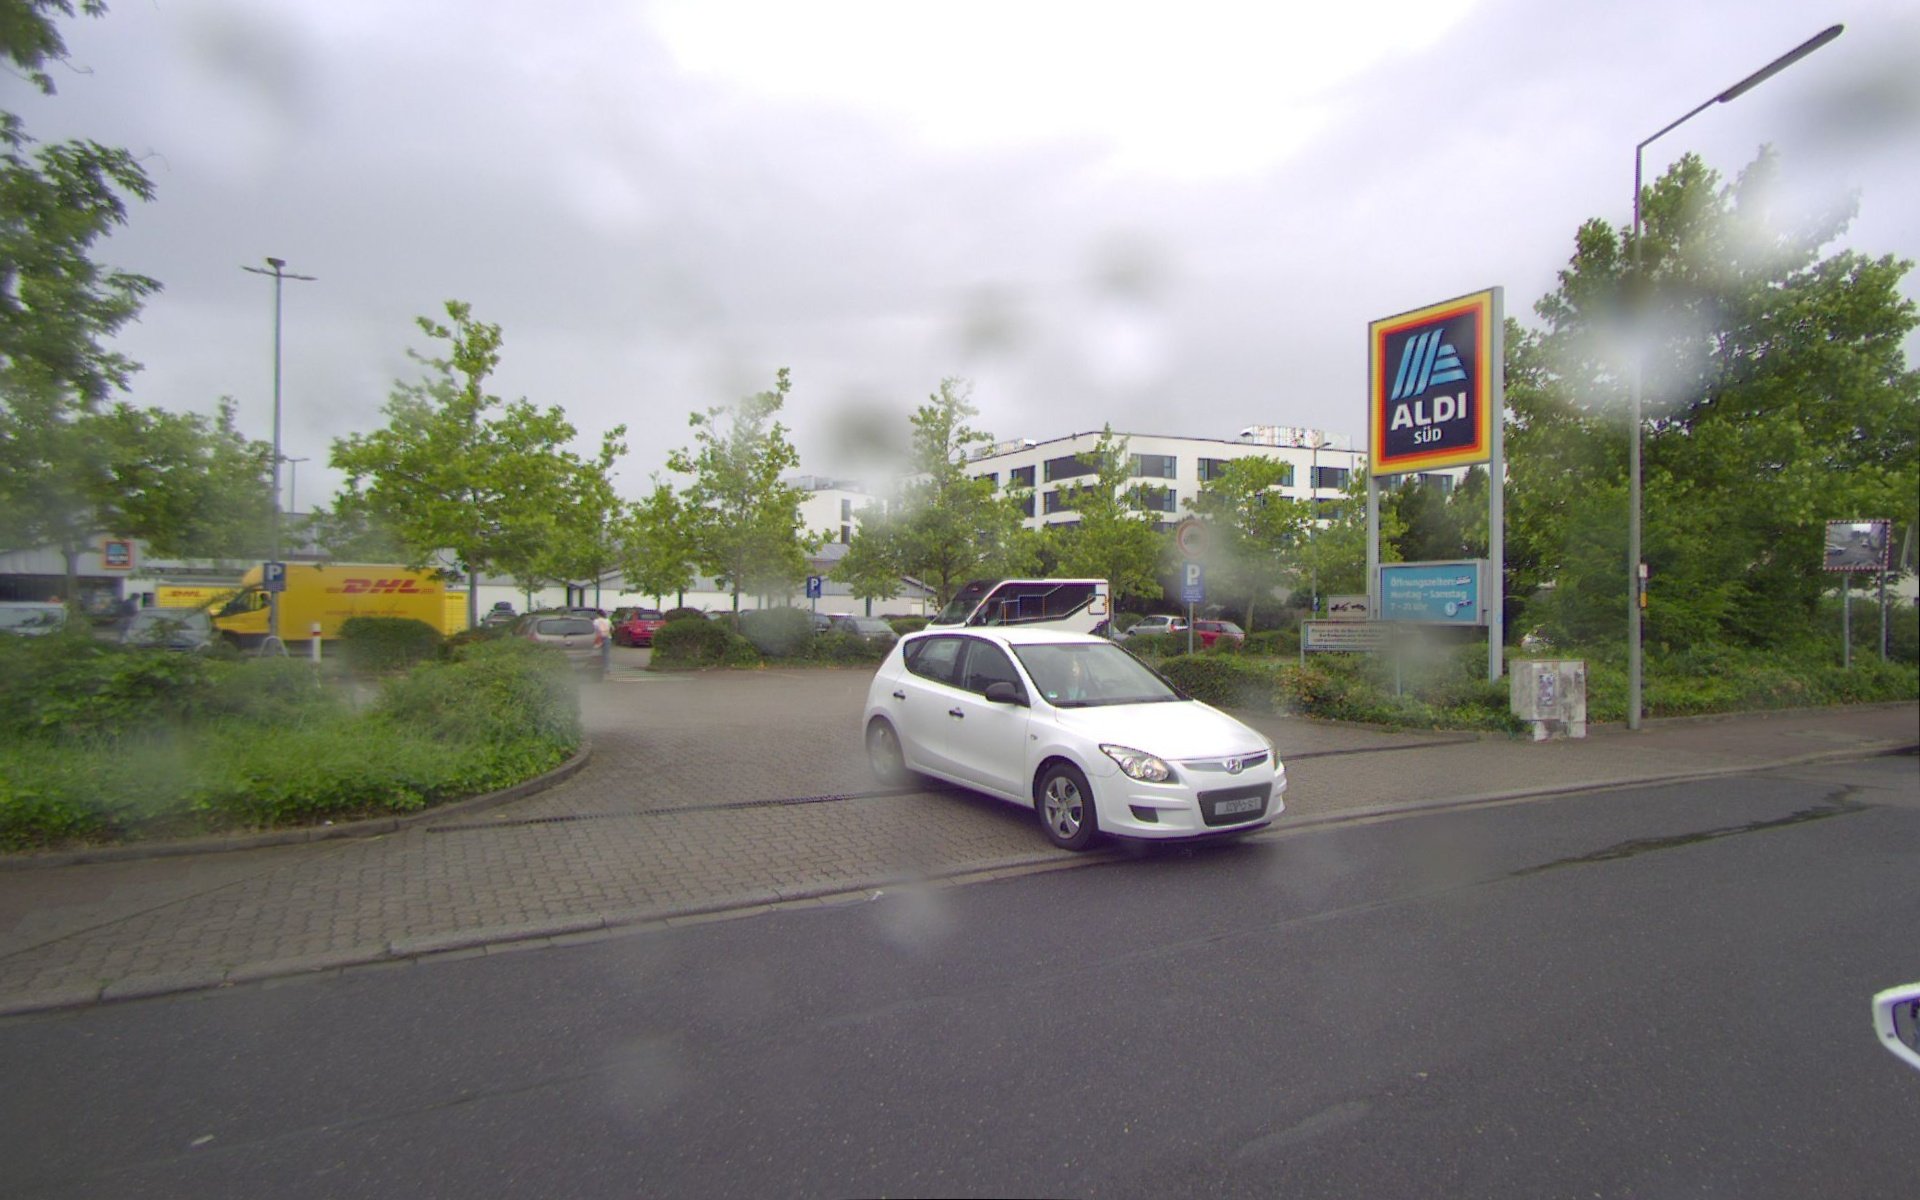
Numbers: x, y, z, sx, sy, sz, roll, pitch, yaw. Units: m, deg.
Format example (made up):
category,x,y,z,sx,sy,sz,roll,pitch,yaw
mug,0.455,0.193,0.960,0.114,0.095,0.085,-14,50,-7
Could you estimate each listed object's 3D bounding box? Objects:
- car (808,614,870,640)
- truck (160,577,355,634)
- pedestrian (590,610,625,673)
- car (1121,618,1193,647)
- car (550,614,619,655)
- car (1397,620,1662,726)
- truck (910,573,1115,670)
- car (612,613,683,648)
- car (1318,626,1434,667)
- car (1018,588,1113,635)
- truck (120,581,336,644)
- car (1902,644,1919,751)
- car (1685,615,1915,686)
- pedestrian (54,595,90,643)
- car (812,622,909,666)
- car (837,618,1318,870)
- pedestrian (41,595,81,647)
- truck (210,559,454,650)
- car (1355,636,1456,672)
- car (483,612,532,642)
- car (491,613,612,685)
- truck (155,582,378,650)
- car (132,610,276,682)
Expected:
category,x,y,z,sx,sy,sz,roll,pitch,yaw
car,-6.641,1.444,54.986,1.977,1.363,3.968,1,-1,-30
truck,-27.111,0.275,39.038,6.073,2.087,1.981,1,-1,-35
pedestrian,-9.379,1.099,26.714,0.760,1.656,0.772,1,-1,-29
car,11.297,1.848,57.768,1.977,1.549,3.968,1,-1,-30
car,-15.106,1.338,40.260,1.977,1.542,3.968,1,-1,-30
car,9.603,1.154,17.192,1.692,1.479,3.552,1,1,-30
truck,1.692,0.677,30.537,6.329,2.692,1.982,1,-1,-34
car,-13.000,1.221,41.623,1.977,1.363,3.968,1,-1,-30
car,16.735,1.818,40.541,1.977,1.519,3.968,1,-1,-30
car,5.536,0.641,52.450,4.760,2.327,1.983,1,-1,-32
truck,-25.912,0.488,35.877,6.073,2.087,1.981,1,-1,-35
car,14.721,1.263,13.571,4.548,1.385,1.697,1,-3,-31
car,20.504,1.181,24.677,1.889,1.561,3.967,1,-1,-31
pedestrian,-36.840,0.791,41.693,0.902,1.988,1.296,1,-1,-32
car,-3.354,1.406,33.199,1.737,1.320,3.968,1,-1,-30
car,0.695,0.941,8.439,1.695,1.479,4.163,1,0,-35
pedestrian,-34.833,0.819,38.925,0.902,1.988,1.296,1,-1,-32
truck,-19.610,0.193,31.757,6.323,2.636,1.983,1,-1,-31
car,20.841,2.482,47.156,1.977,1.549,3.968,1,-1,-30
car,-24.009,1.420,53.255,1.977,1.542,3.968,1,-1,-30
car,-9.408,1.062,22.940,1.695,1.479,4.163,1,-1,-35
truck,-23.374,0.566,34.160,6.073,2.122,1.981,1,-1,-35
car,-16.629,0.945,22.319,1.976,1.439,3.970,1,-1,-29
